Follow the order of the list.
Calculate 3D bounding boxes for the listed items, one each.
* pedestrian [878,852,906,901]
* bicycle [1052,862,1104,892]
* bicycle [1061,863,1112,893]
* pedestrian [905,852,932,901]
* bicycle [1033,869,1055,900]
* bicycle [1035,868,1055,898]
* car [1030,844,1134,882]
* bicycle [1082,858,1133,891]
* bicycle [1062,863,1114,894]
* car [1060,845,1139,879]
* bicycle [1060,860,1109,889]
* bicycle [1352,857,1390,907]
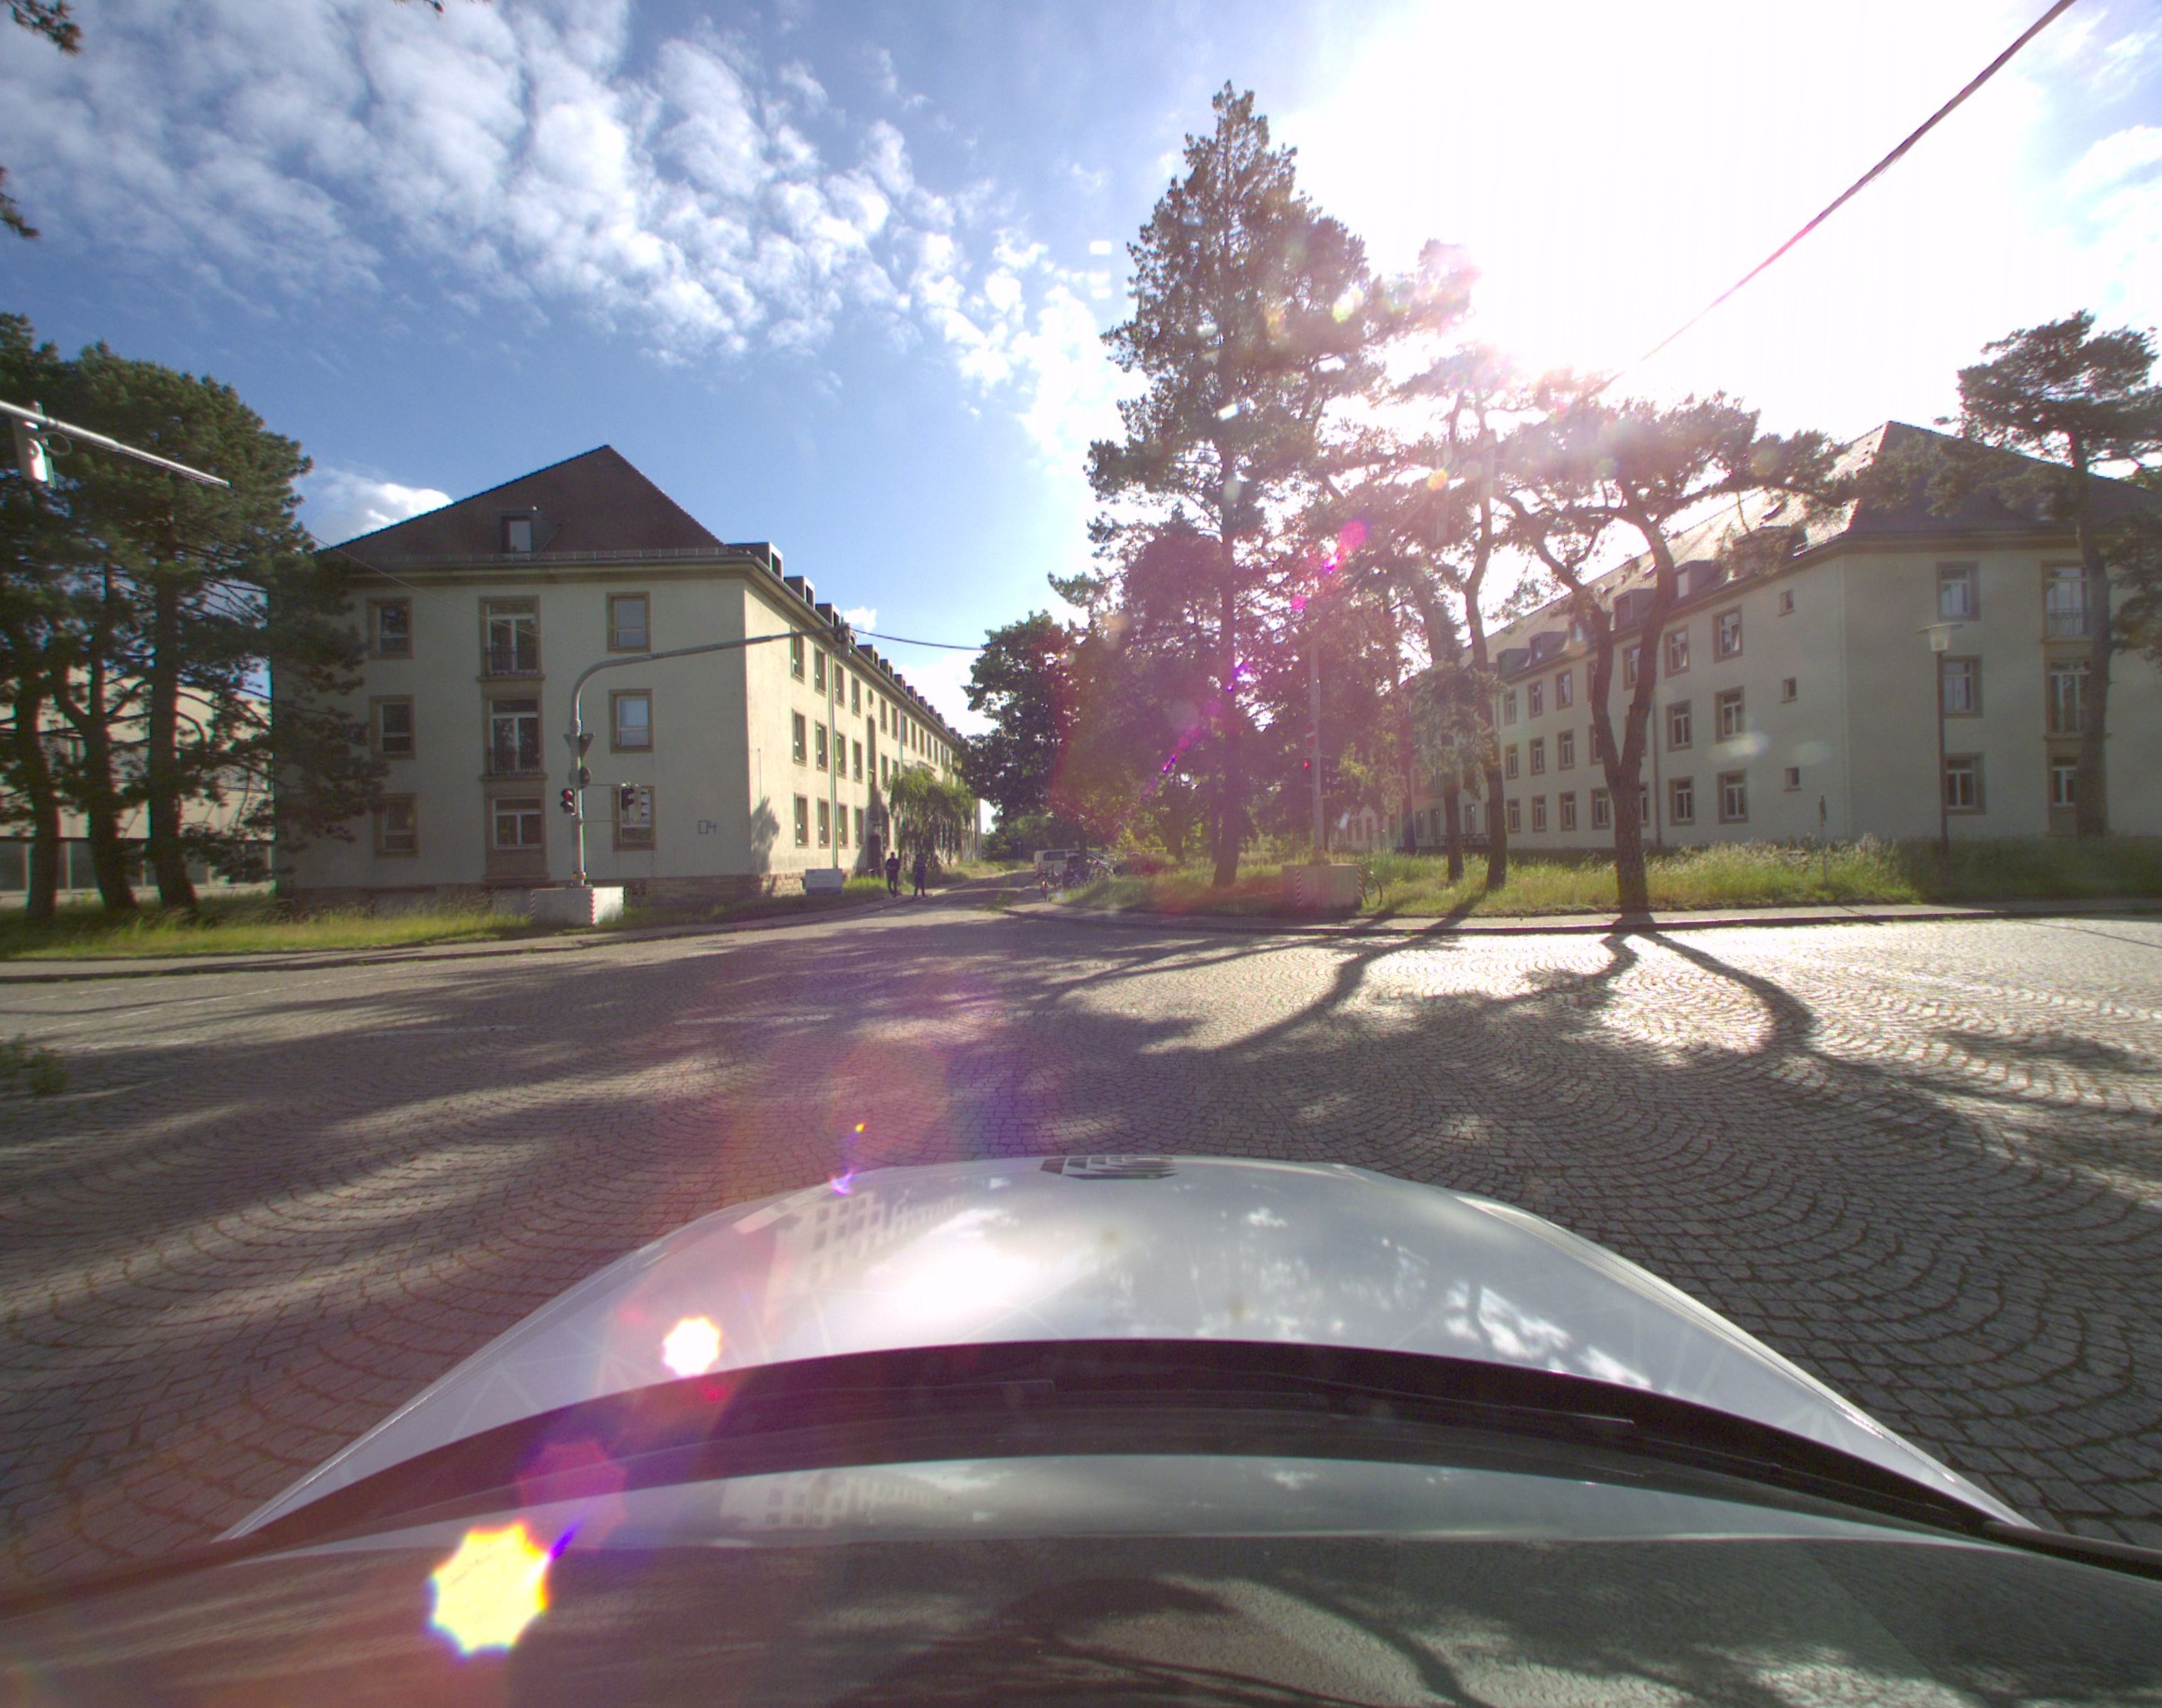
[{"bbox_3d":[-7.227,0.860,31.135,0.806,1.817,0.556,-2,0,10],"label":"pedestrian"},{"bbox_3d":[-0.121,0.894,32.380,1.951,1.129,0.642,-2,0,-27],"label":"bicycle"},{"bbox_3d":[0.194,0.887,30.374,1.850,1.031,0.749,-2,0,-3],"label":"bicycle"},{"bbox_3d":[-6.184,0.842,31.037,0.762,1.817,0.684,-2,0,10],"label":"pedestrian"},{"bbox_3d":[-1.206,0.989,26.879,0.693,0.971,1.859,-1,0,-2],"label":"bicycle"},{"bbox_3d":[-1.263,1.002,28.828,0.693,0.971,1.859,-1,0,-2],"label":"bicycle"},{"bbox_3d":[0.022,0.524,48.455,5.925,2.013,2.469,-2,0,-7],"label":"car"},{"bbox_3d":[1.016,0.795,31.877,1.936,1.235,0.485,-2,0,-4],"label":"bicycle"},{"bbox_3d":[0.255,0.929,31.175,1.936,1.129,0.749,-2,0,-4],"label":"bicycle"},{"bbox_3d":[0.975,0.435,44.132,3.985,1.684,1.842,-2,0,-8],"label":"car"},{"bbox_3d":[0.124,0.843,33.484,1.938,1.129,0.646,-2,0,-6],"label":"bicycle"},{"bbox_3d":[6.511,0.612,18.302,0.464,1.080,1.175,-2,-1,3],"label":"bicycle"}]
